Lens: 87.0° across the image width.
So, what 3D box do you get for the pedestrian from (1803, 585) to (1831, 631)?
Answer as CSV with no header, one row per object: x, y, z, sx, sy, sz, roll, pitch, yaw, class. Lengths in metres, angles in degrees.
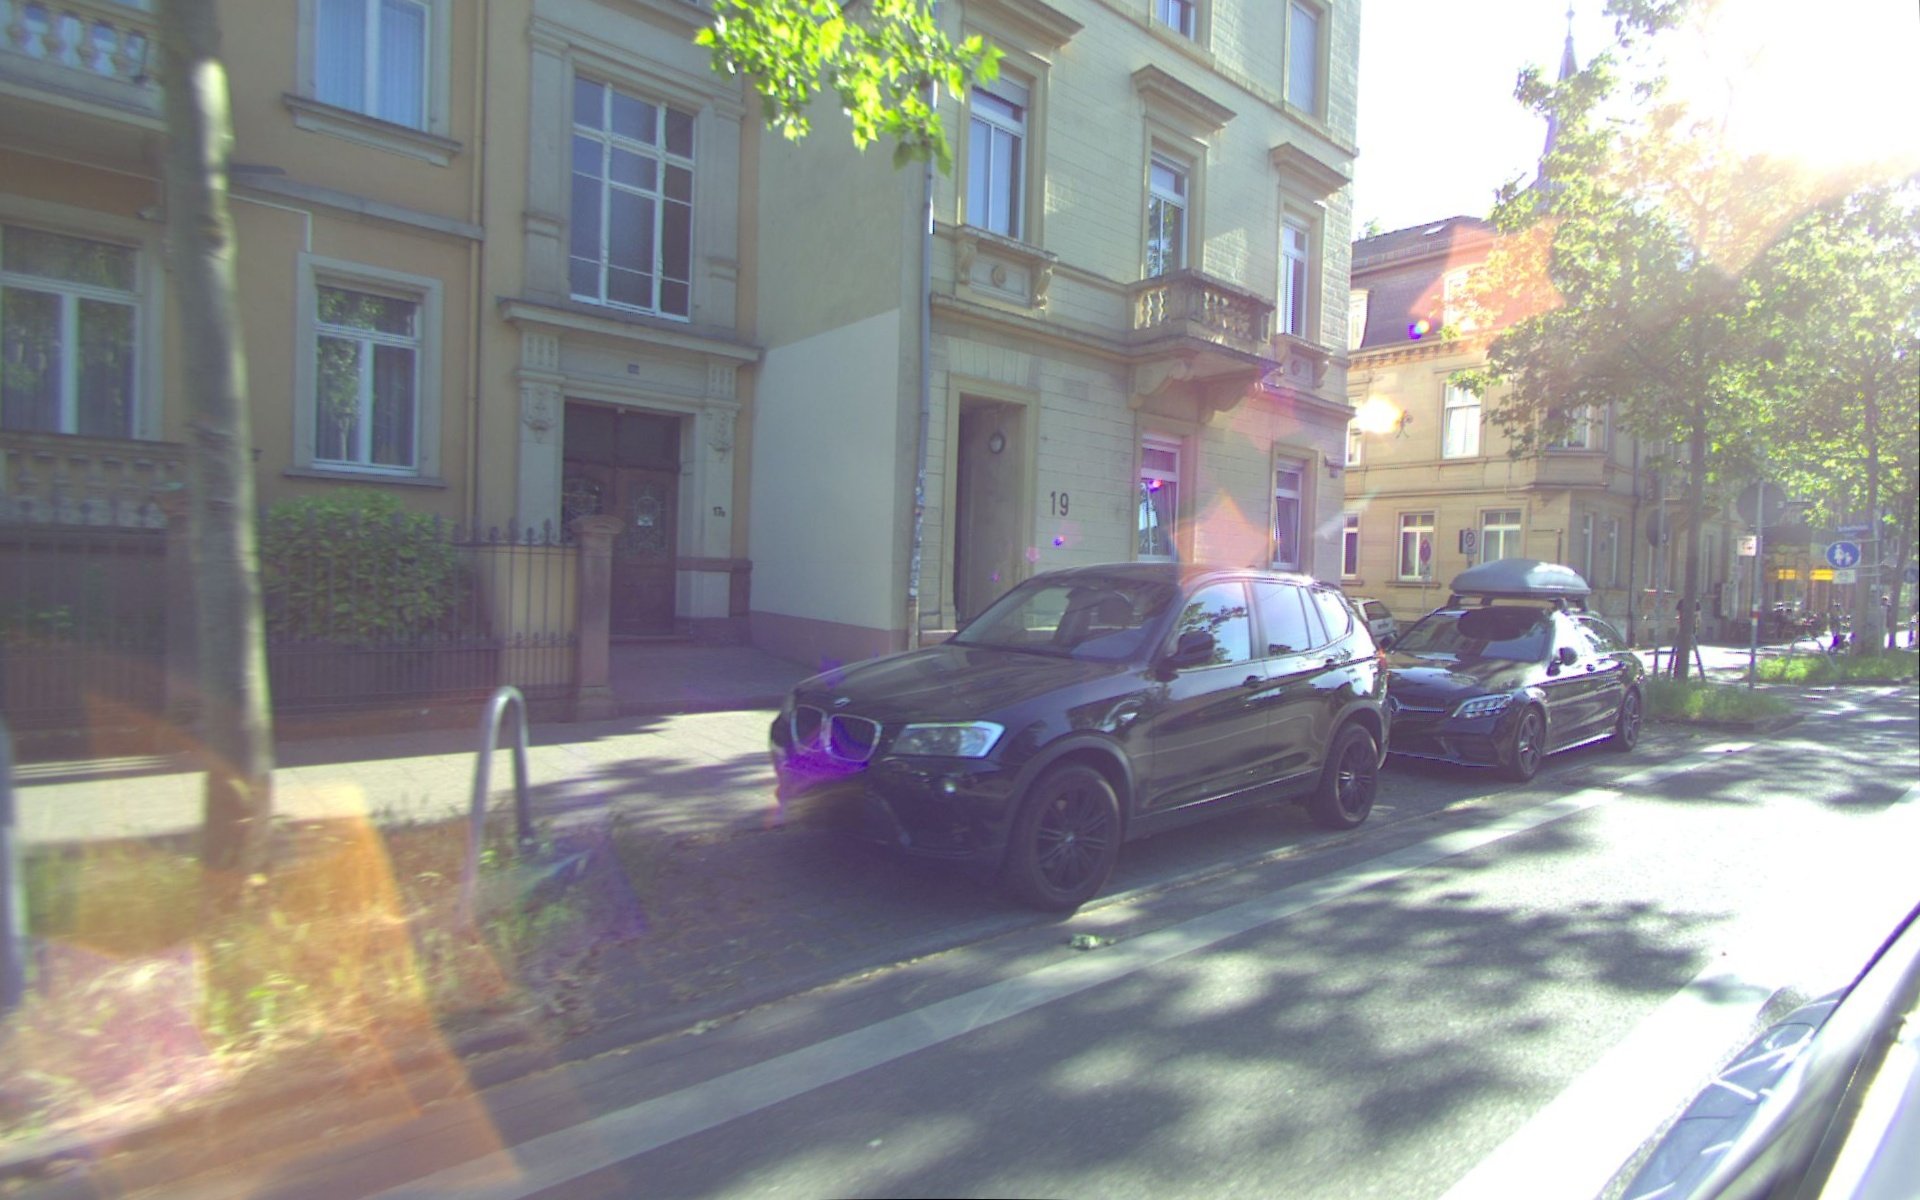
34.584,0.323,40.859,0.758,1.834,0.470,1,-1,-9,pedestrian

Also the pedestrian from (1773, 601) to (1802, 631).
33.230,0.633,40.639,0.643,1.176,0.671,0,-1,14,pedestrian

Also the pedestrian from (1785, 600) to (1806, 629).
34.426,0.593,41.708,0.644,1.176,0.602,0,-1,39,pedestrian

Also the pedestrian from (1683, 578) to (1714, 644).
21.093,0.306,28.908,0.943,1.850,0.564,1,-1,-44,pedestrian

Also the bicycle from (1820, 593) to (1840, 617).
38.167,0.221,44.414,1.659,1.006,0.443,1,-1,-42,bicycle

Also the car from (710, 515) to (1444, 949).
1.018,0.499,6.220,4.654,1.721,1.801,0,1,-41,car

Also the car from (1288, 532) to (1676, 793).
5.274,0.477,9.909,4.654,1.989,1.758,1,1,-41,car

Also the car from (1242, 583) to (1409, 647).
10.015,0.369,27.972,1.618,1.523,4.069,1,1,-38,car

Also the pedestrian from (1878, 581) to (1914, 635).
36.425,0.312,39.395,0.840,2.039,0.884,1,-1,-37,pedestrian
